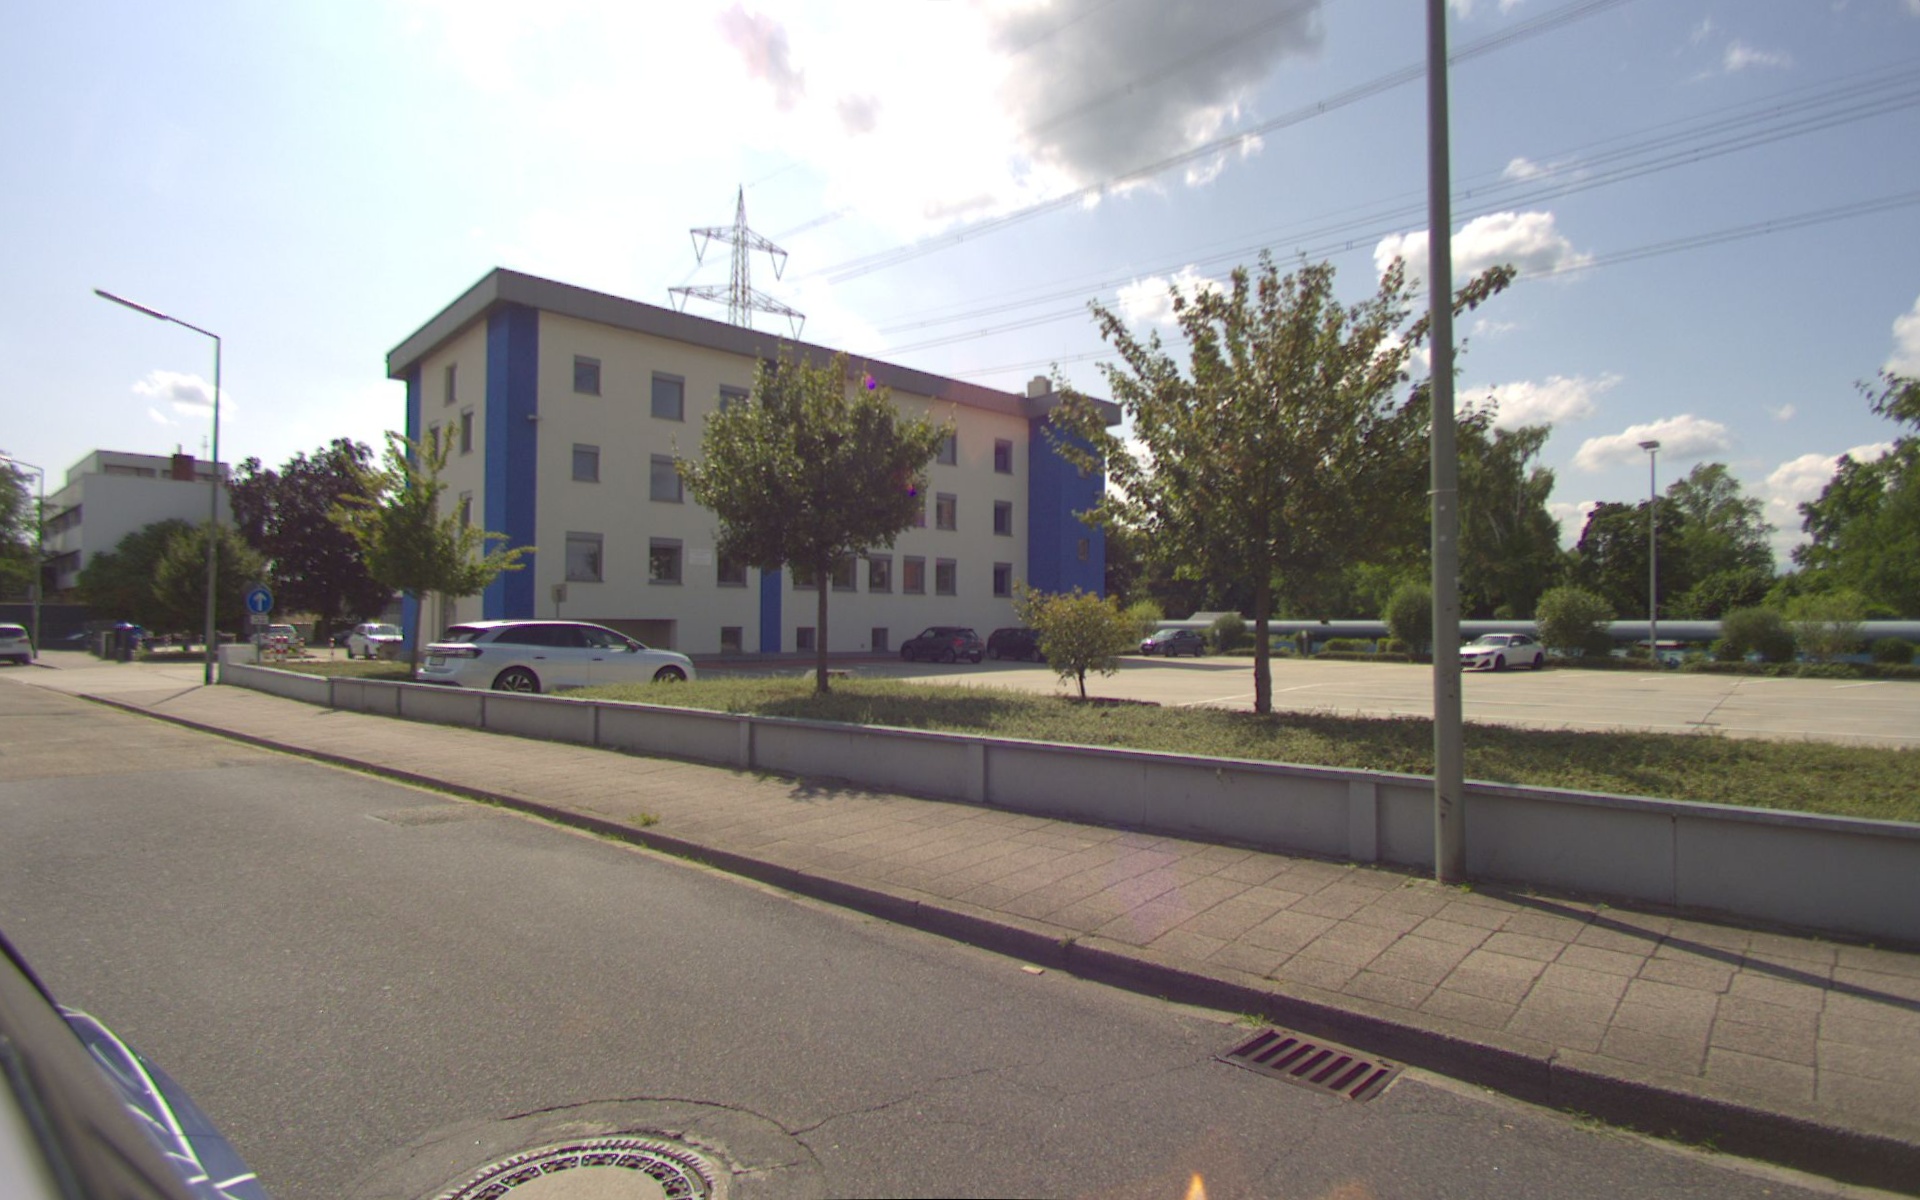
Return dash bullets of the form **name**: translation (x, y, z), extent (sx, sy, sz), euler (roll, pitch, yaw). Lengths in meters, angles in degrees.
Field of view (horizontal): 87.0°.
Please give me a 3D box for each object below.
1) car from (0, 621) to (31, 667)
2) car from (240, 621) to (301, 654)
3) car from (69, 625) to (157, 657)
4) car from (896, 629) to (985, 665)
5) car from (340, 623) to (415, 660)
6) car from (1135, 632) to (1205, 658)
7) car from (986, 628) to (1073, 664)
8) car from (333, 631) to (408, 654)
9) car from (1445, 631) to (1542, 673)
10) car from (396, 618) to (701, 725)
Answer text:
- **car**: translation (-38.606, 1.728, 40.299), extent (4.750, 1.721, 1.848), euler (0, 0, 41)
- **car**: translation (-36.465, 1.949, 53.483), extent (1.803, 1.649, 4.848), euler (2, -2, -44)
- **car**: translation (-49.034, 2.346, 58.614), extent (1.877, 1.721, 3.610), euler (0, -1, 40)
- **car**: translation (-0.838, 1.884, 41.477), extent (1.544, 1.386, 3.682), euler (1, -2, -45)
- **car**: translation (-25.578, 1.798, 44.402), extent (3.759, 1.518, 1.852), euler (0, -1, 44)
- **car**: translation (11.021, 2.315, 53.026), extent (3.553, 1.261, 1.806), euler (1, -1, -41)
- **car**: translation (2.984, 1.970, 44.060), extent (1.544, 1.386, 3.683), euler (1, 0, -45)
- **car**: translation (-40.012, 2.851, 68.736), extent (4.150, 1.513, 1.682), euler (2, -2, -45)
- **car**: translation (20.405, 1.935, 38.672), extent (3.763, 1.485, 1.808), euler (1, -1, -36)
- **car**: translation (-7.236, 1.149, 18.205), extent (1.999, 1.614, 4.705), euler (-1, -1, 41)
